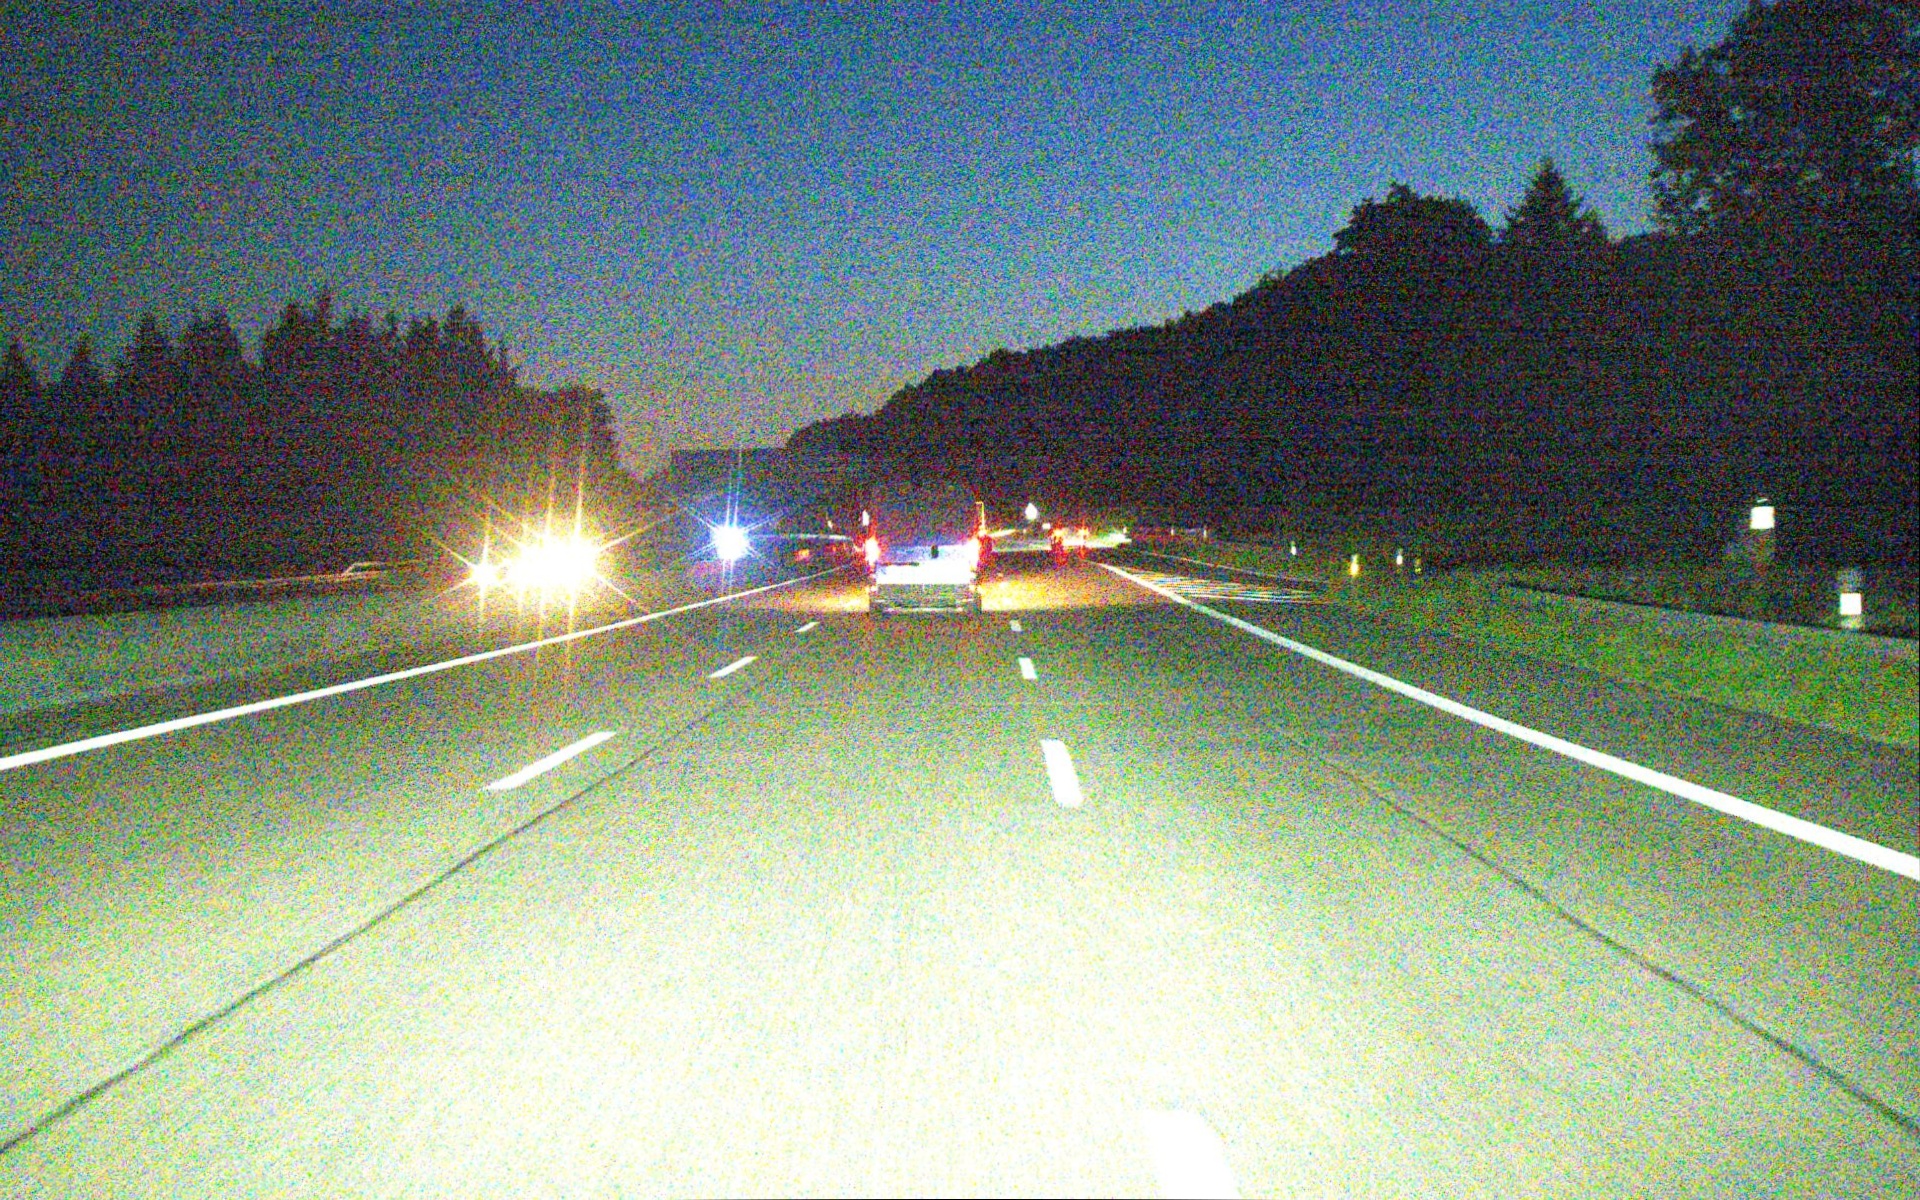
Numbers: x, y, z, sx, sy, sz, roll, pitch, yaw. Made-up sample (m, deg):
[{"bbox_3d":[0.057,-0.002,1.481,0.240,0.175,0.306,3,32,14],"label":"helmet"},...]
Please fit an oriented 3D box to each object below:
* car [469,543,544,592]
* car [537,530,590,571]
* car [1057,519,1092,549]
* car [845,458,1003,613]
[{"bbox_3d":[-15.745,-1.143,119.609,1.932,1.599,4.954,-1,1,0],"label":"car"},{"bbox_3d":[-19.625,-2.467,170.294,2.028,1.962,5.397,-1,1,0],"label":"car"},{"bbox_3d":[6.564,-3.800,197.185,1.843,1.634,4.000,-1,2,0],"label":"car"},{"bbox_3d":[-0.644,-1.188,63.966,2.786,2.724,6.299,0,1,0],"label":"car"}]
